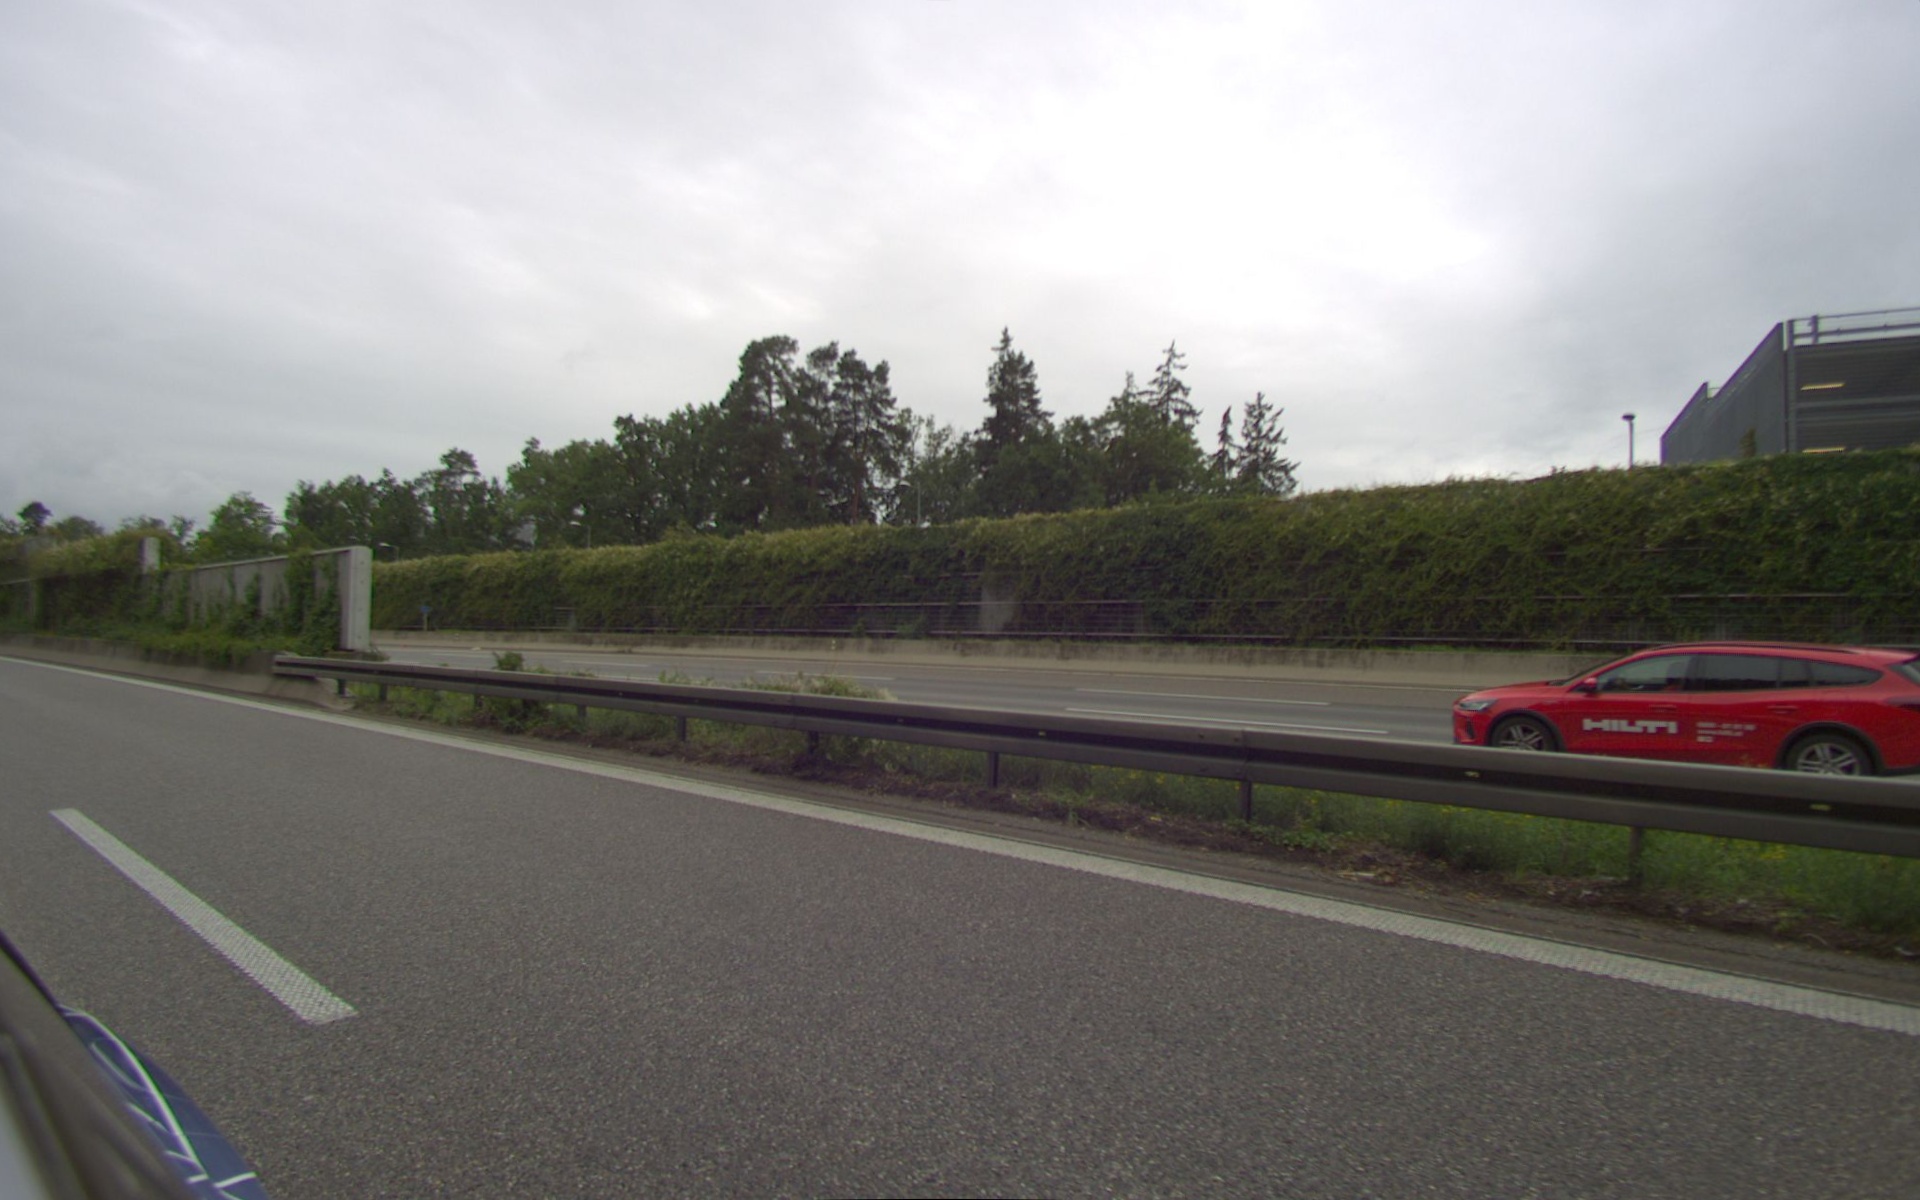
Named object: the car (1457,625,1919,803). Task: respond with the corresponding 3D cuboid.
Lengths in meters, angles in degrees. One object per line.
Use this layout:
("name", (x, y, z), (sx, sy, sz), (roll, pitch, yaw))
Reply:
("car", (8.221, 1.100, 11.089), (4.714, 1.581, 1.753), (0, -1, 41))
